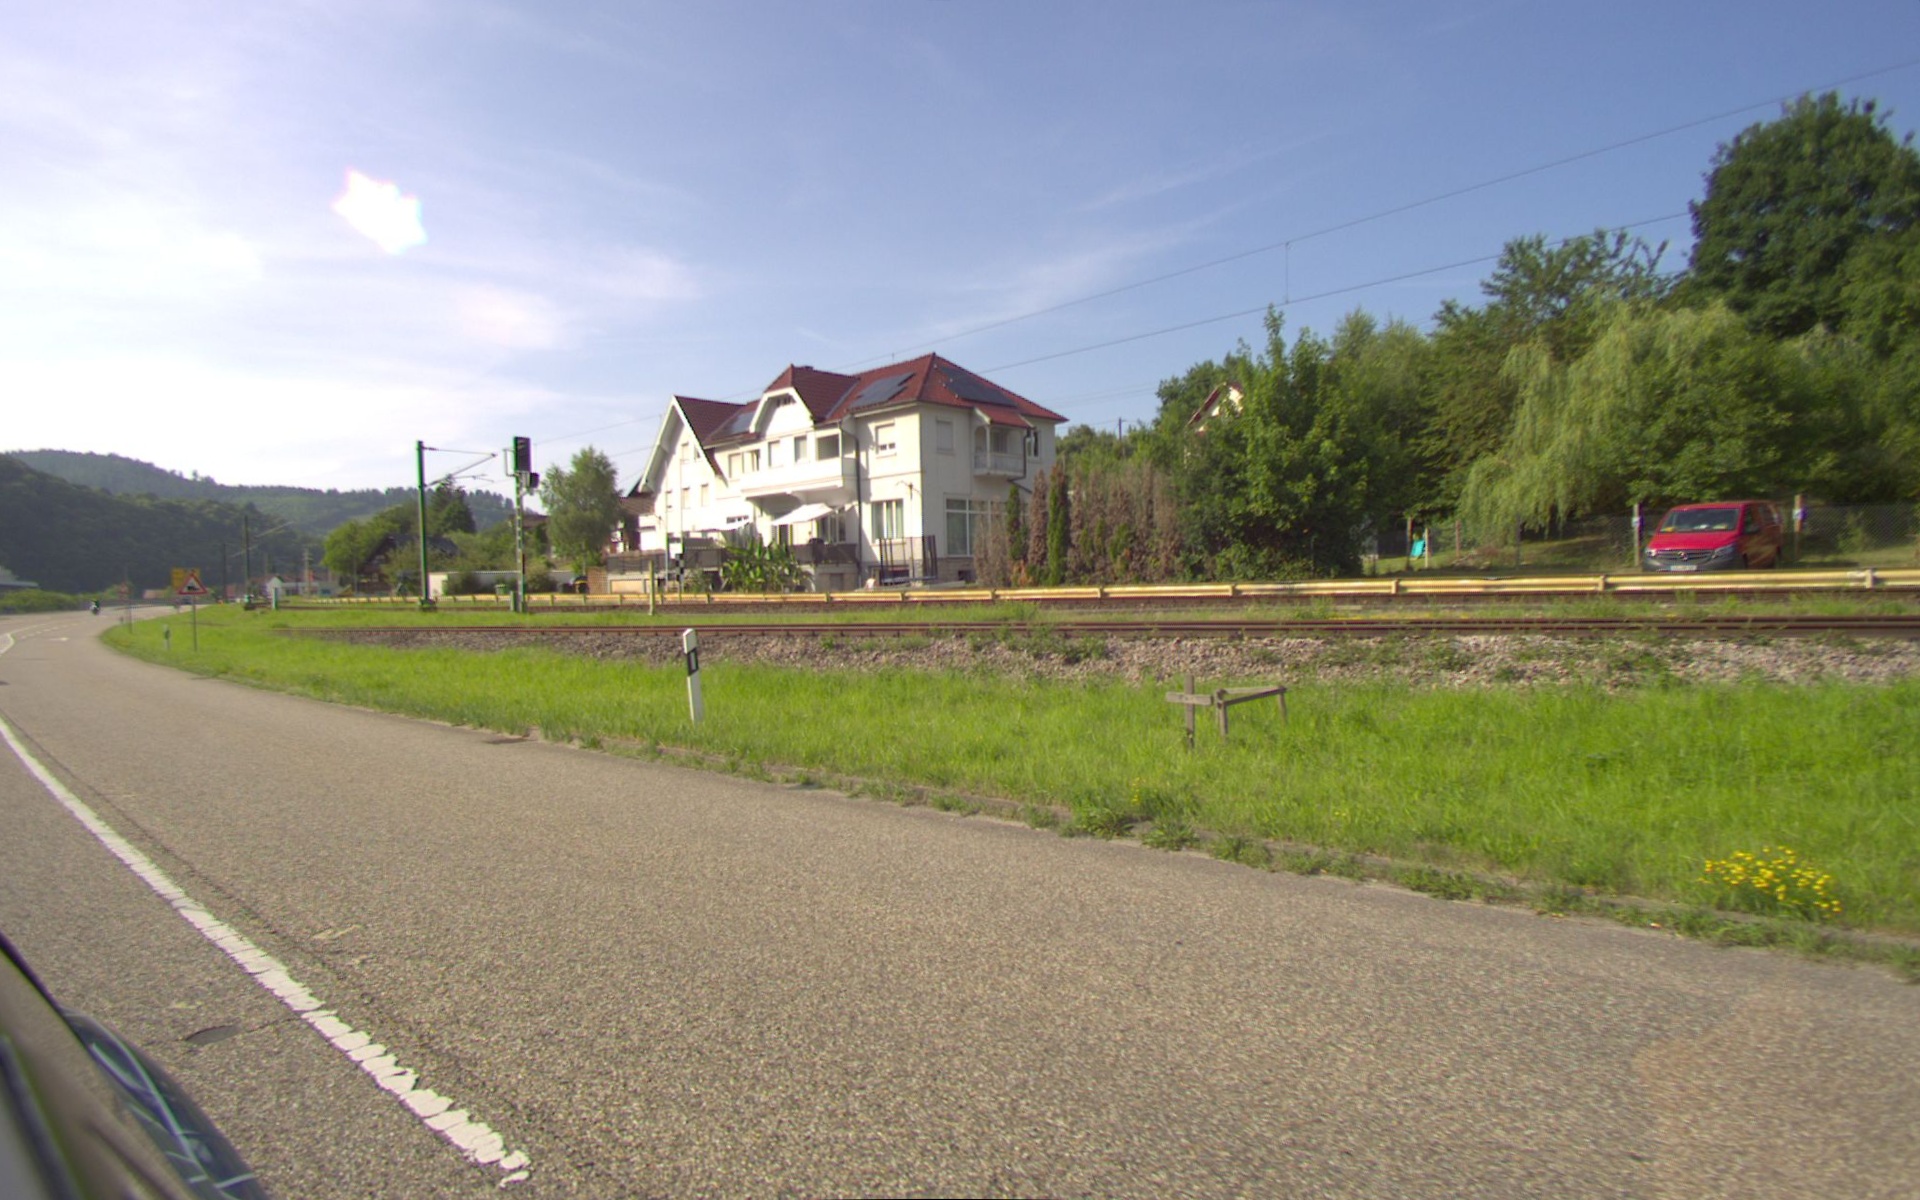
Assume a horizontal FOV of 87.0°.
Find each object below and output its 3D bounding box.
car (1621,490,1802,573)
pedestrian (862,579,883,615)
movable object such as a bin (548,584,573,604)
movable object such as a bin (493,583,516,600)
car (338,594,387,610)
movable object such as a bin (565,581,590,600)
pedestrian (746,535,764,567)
[{"bbox_3d":[17.915,-1.560,24.038,4.903,1.704,2.459,-3,2,-41],"label":"car"},{"bbox_3d":[-4.097,-0.129,47.280,0.668,1.628,0.609,-3,1,-44],"label":"pedestrian"},{"bbox_3d":[-25.650,-0.391,64.944,1.077,1.200,1.144,-3,2,-43],"label":"movable object such as a bin"},{"bbox_3d":[-33.179,-0.593,73.678,1.093,1.200,1.127,-1,2,42],"label":"movable object such as a bin"},{"bbox_3d":[-104.194,0.348,176.620,6.965,2.475,2.958,-3,1,-20],"label":"car"},{"bbox_3d":[-24.858,-0.623,65.773,1.077,1.200,1.144,-3,2,-43],"label":"movable object such as a bin"},{"bbox_3d":[-10.871,-2.611,53.756,0.599,1.628,0.678,-3,1,-44],"label":"pedestrian"}]
